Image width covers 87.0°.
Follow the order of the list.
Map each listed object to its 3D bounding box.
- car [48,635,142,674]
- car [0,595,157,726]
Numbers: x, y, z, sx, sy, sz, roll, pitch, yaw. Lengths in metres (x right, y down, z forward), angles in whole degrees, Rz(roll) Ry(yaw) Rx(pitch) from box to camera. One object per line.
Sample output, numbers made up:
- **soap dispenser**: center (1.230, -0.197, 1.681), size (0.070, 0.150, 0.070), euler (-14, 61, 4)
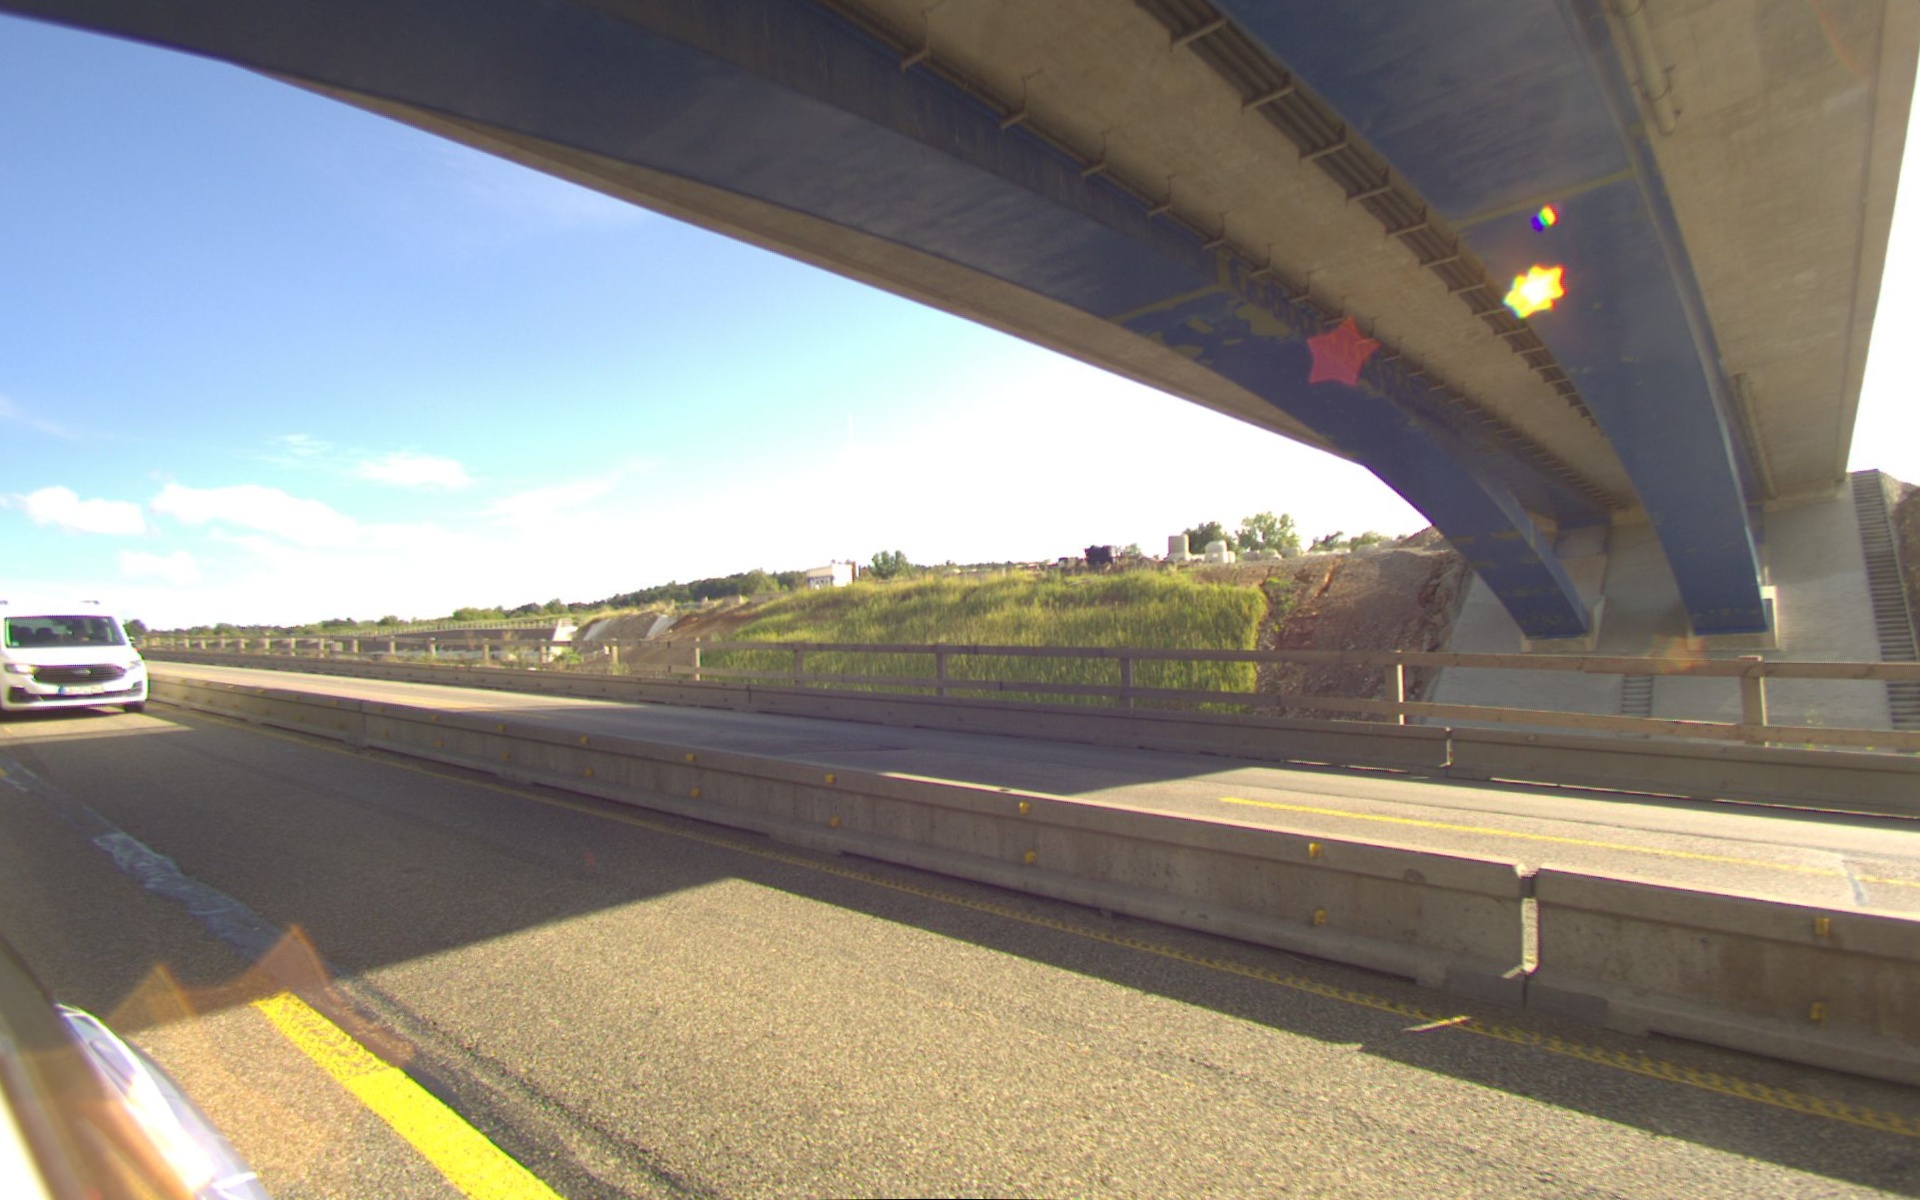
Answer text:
- **car**: center (-27.601, 1.732, 32.244), size (4.216, 1.164, 1.651), euler (-2, -4, 41)
- **car**: center (-14.783, 0.915, 16.457), size (4.452, 1.837, 1.805), euler (-2, 0, 40)
